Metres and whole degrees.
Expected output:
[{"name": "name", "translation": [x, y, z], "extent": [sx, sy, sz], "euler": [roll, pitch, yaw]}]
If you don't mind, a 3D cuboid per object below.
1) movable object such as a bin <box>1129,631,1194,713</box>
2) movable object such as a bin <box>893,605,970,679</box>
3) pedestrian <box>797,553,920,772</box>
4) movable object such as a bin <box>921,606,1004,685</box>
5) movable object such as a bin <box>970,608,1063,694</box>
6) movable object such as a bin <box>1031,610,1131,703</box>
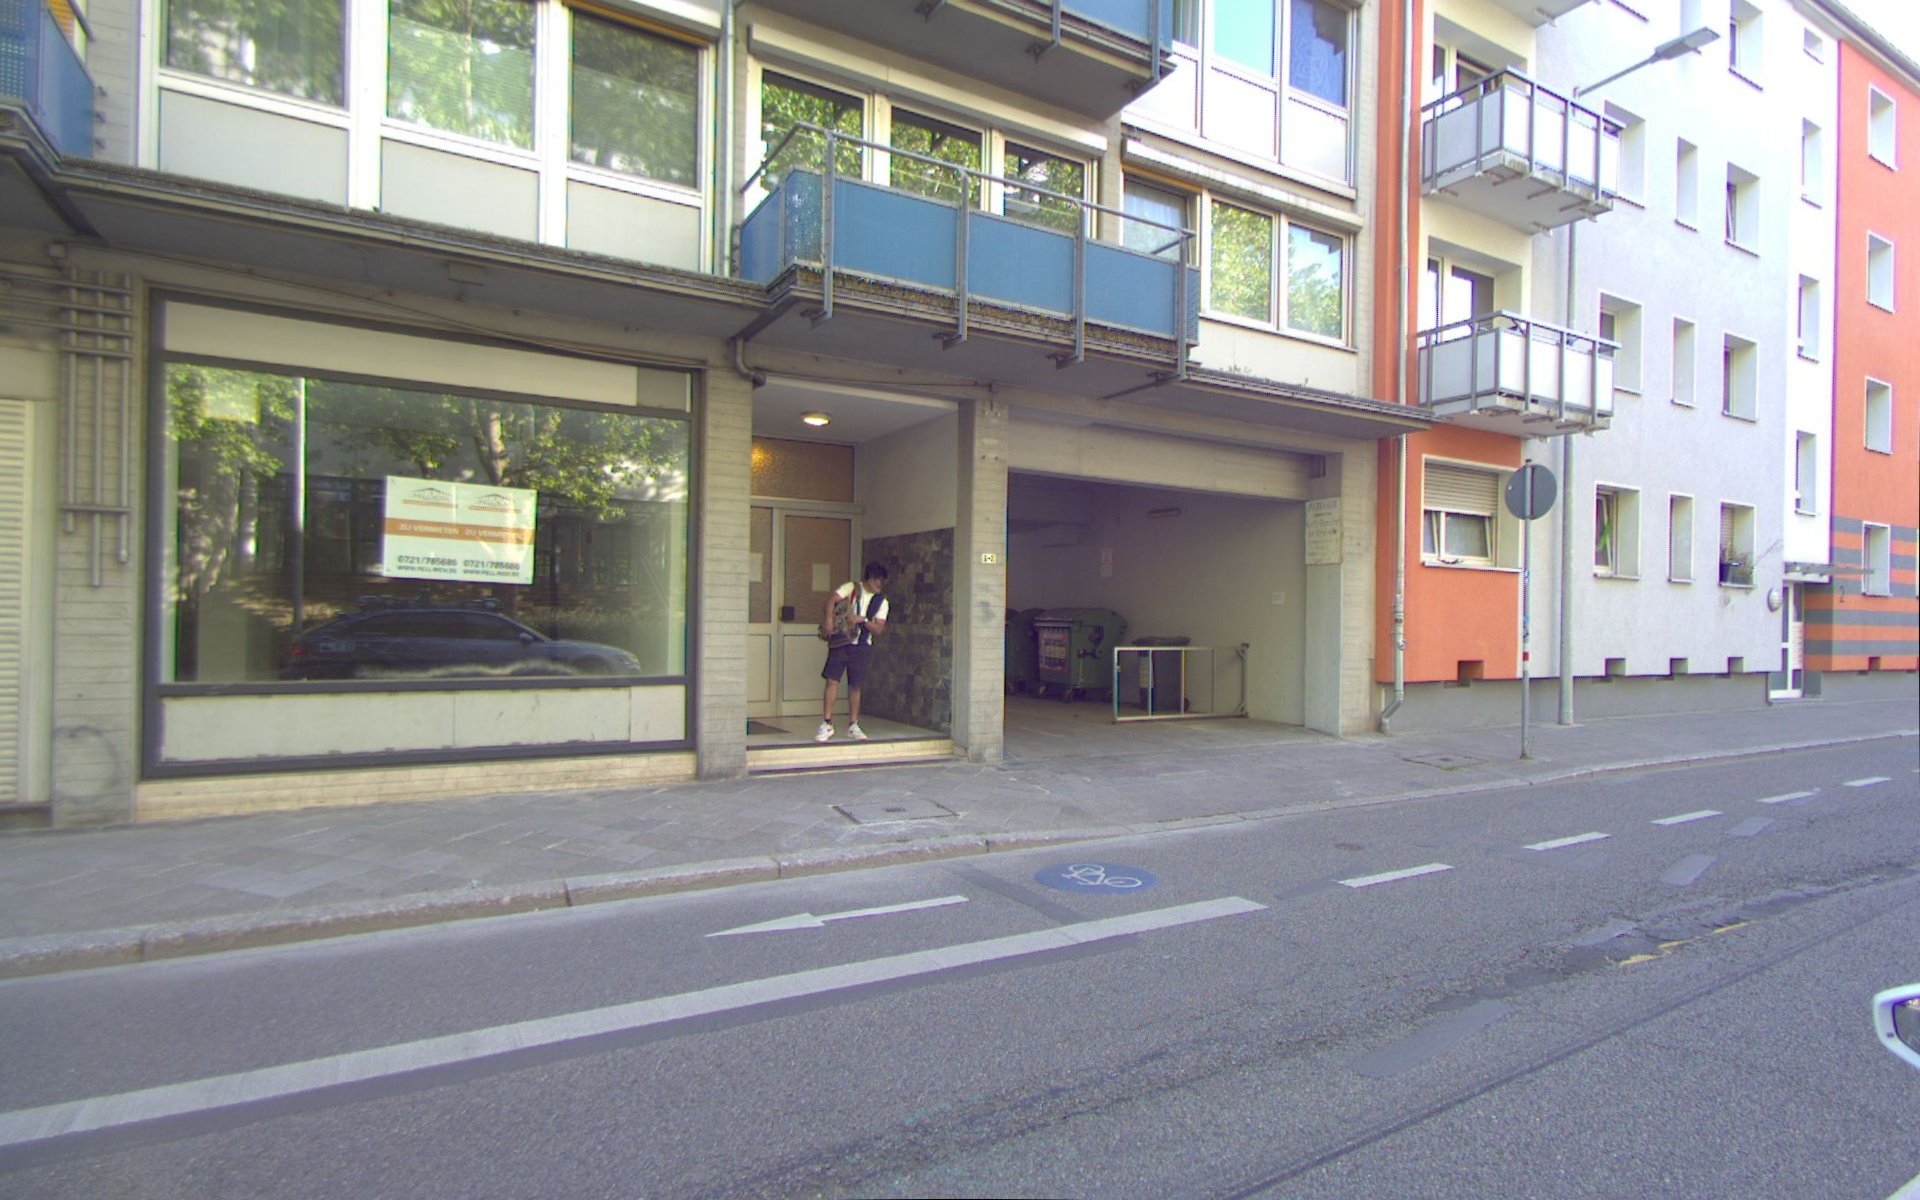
[{"name": "movable object such as a bin", "translation": [2.893, 1.026, 14.463], "extent": [0.650, 1.115, 0.626], "euler": [2, 0, -27]}, {"name": "movable object such as a bin", "translation": [-0.569, 0.811, 19.866], "extent": [1.066, 1.384, 1.255], "euler": [2, 0, -27]}, {"name": "pedestrian", "translation": [-0.945, 0.552, 9.256], "extent": [0.882, 1.902, 0.703], "euler": [2, 0, -28]}, {"name": "movable object such as a bin", "translation": [0.040, 0.824, 18.697], "extent": [1.066, 1.384, 1.255], "euler": [2, 0, -27]}, {"name": "movable object such as a bin", "translation": [0.951, 0.844, 17.128], "extent": [1.066, 1.384, 1.255], "euler": [2, 0, -27]}, {"name": "movable object such as a bin", "translation": [1.892, 0.867, 15.813], "extent": [1.066, 1.384, 1.192], "euler": [2, 0, -27]}]
